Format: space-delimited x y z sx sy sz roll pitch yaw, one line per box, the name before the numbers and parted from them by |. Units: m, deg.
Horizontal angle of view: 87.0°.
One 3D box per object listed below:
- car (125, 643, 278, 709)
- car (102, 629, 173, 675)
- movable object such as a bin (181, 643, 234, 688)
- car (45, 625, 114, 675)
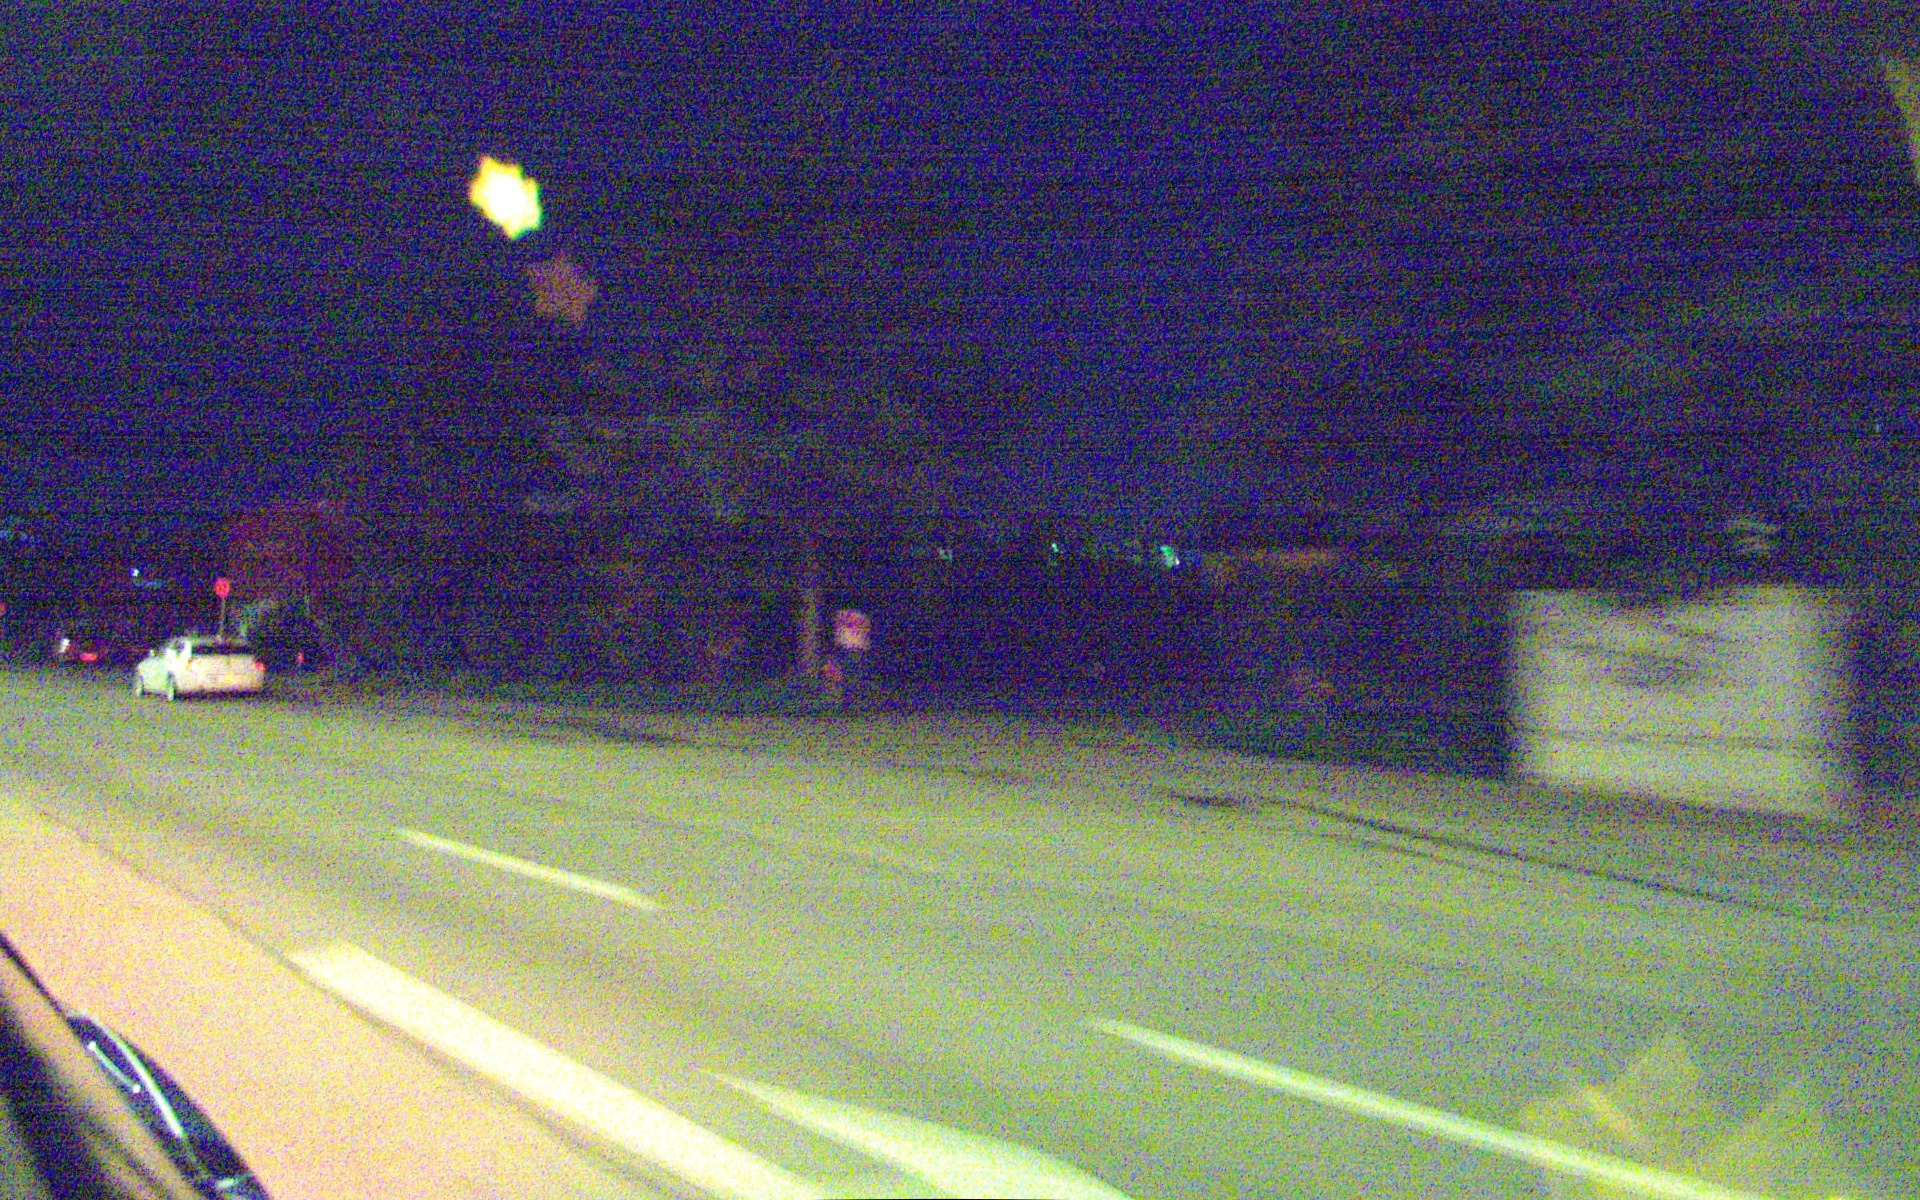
car | -18.016 1.742 23.972 4.333 1.414 1.892 -2 -4 40
car | -43.541 2.739 53.534 4.623 2.339 2.183 -3 -4 43
movable object such as a bin | -25.865 2.247 34.792 1.063 1.507 1.154 -2 -4 36
car | -44.510 2.537 51.121 4.966 2.339 1.972 -3 -6 43
